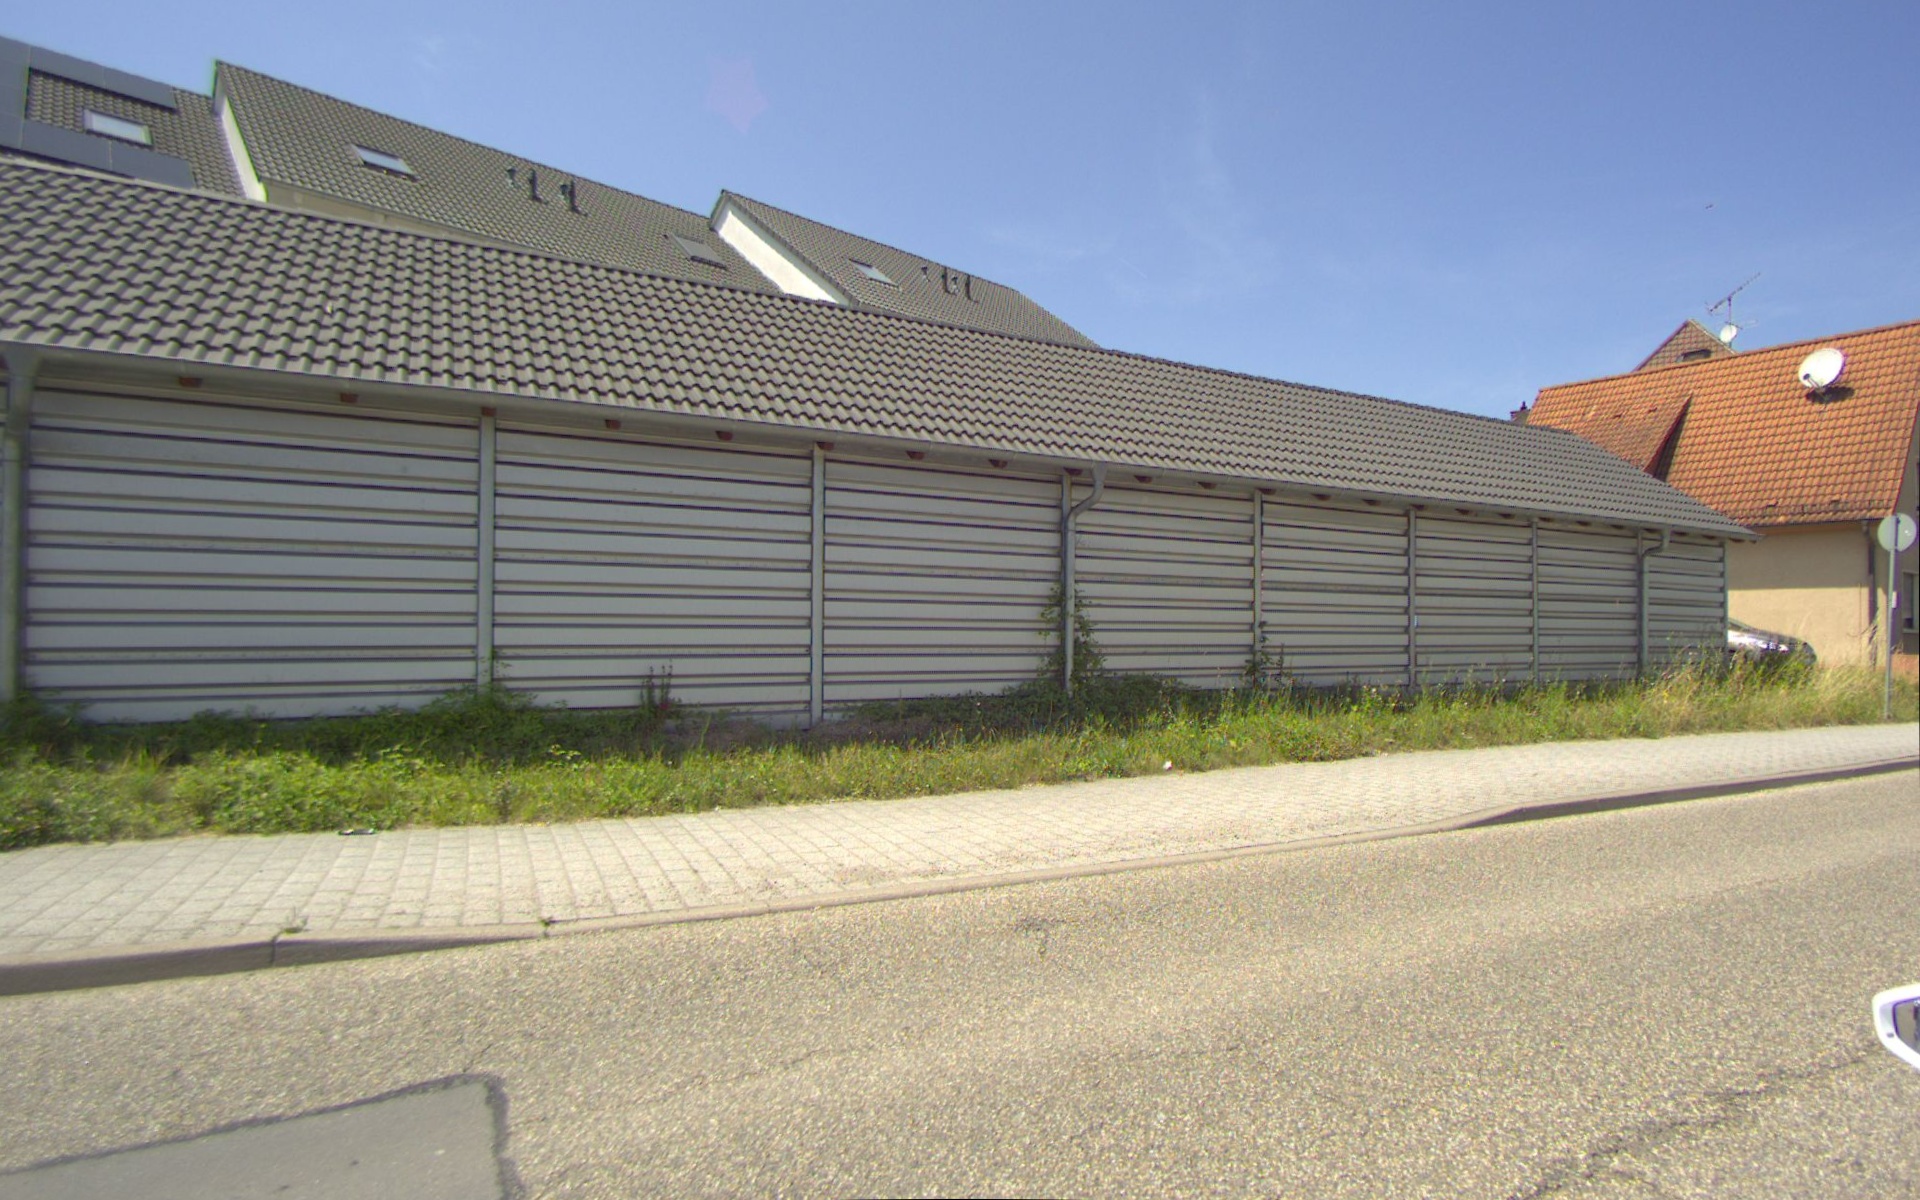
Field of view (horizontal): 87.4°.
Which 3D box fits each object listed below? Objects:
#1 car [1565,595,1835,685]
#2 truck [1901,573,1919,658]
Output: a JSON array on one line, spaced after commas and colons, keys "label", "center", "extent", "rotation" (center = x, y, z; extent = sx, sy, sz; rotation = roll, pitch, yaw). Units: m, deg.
[{"label": "car", "center": [15.123, 0.824, 20.783], "extent": [1.842, 1.659, 4.109], "rotation": [1, -2, -28]}, {"label": "truck", "center": [52.393, 0.831, 51.111], "extent": [3.061, 4.459, 5.921], "rotation": [2, -1, -13]}]
